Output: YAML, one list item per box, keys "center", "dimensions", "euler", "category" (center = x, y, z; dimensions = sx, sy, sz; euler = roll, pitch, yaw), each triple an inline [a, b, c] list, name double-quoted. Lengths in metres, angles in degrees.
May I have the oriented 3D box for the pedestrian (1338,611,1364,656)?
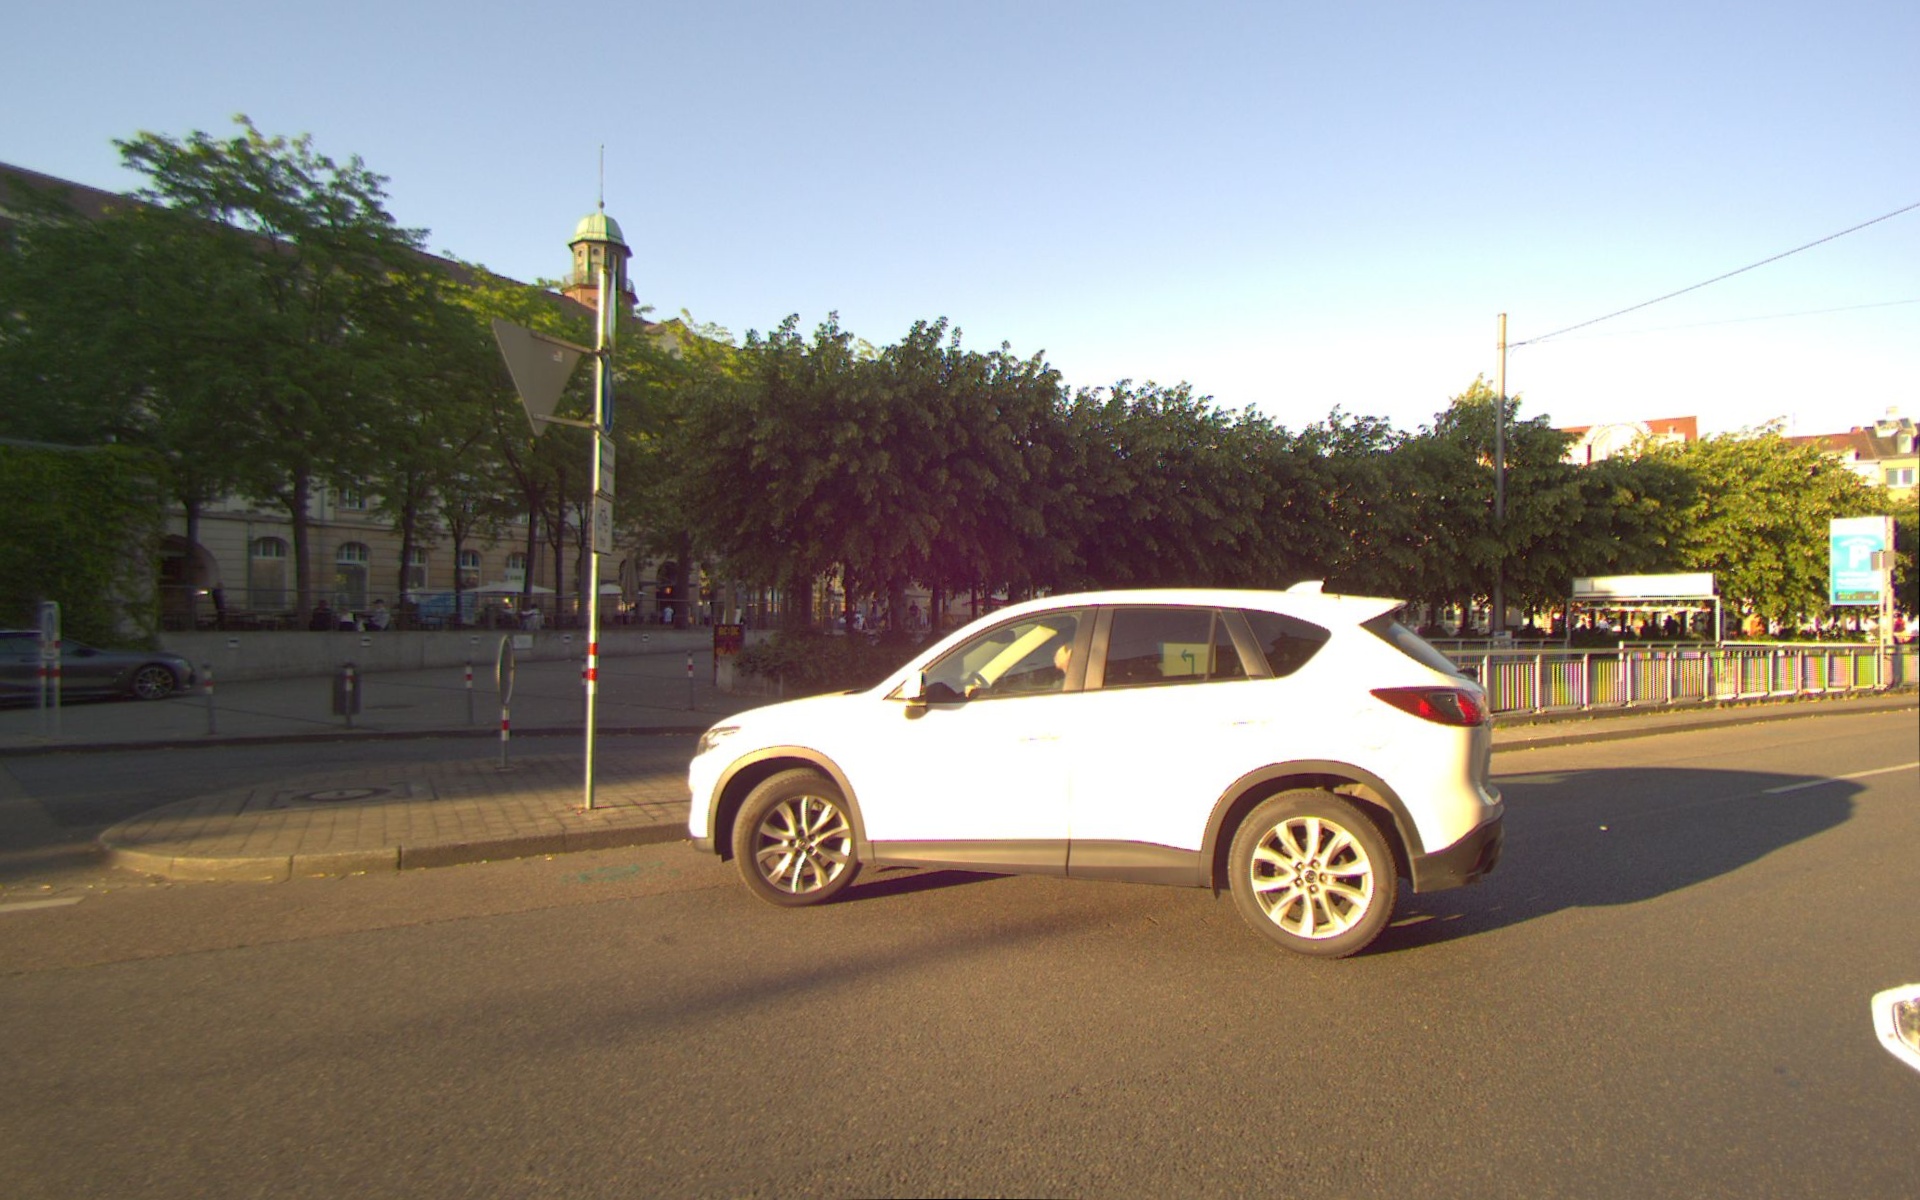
- center: [14.307, 1.222, 36.781]
  dimensions: [0.558, 1.616, 0.791]
  euler: [1, 0, -12]
  category: "pedestrian"

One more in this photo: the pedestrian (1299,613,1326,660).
- center: [12.220, 1.250, 34.824]
  dimensions: [0.558, 1.616, 0.791]
  euler: [1, 0, -12]
  category: "pedestrian"

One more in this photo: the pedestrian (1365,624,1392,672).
- center: [14.250, 1.620, 34.180]
  dimensions: [0.558, 1.616, 0.678]
  euler: [1, 0, -12]
  category: "pedestrian"

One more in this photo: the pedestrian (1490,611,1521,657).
- center: [19.356, 1.203, 35.653]
  dimensions: [0.665, 1.616, 0.678]
  euler: [1, 0, -12]
  category: "pedestrian"

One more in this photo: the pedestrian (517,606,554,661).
- center: [-12.625, 1.002, 29.876]
  dimensions: [0.778, 1.607, 0.652]
  euler: [0, -2, 34]
  category: "pedestrian"

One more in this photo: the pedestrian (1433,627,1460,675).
- center: [17.003, 1.774, 35.116]
  dimensions: [0.558, 1.616, 0.678]
  euler: [1, 0, -12]
  category: "pedestrian"

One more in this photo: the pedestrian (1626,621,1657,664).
- center: [25.848, 1.596, 38.115]
  dimensions: [0.558, 1.616, 0.791]
  euler: [1, 0, -12]
  category: "pedestrian"

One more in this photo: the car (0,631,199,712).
- center: [-16.764, 1.257, 18.060]
  dimensions: [1.964, 1.335, 4.522]
  euler: [-1, -1, 28]
  category: "car"

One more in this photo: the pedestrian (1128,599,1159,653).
- center: [5.612, 0.783, 30.671]
  dimensions: [0.693, 1.616, 0.673]
  euler: [0, 0, 41]
  category: "pedestrian"

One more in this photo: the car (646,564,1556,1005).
- center: [0.671, 0.780, 5.744]
  dimensions: [4.377, 1.784, 2.000]
  euler: [0, -1, 19]
  category: "car"

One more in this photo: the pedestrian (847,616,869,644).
- center: [-4.261, 1.248, 42.004]
  dimensions: [0.703, 1.134, 0.609]
  euler: [0, -1, 34]
  category: "pedestrian"

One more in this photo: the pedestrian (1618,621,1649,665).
- center: [25.096, 1.587, 37.422]
  dimensions: [0.558, 1.616, 0.791]
  euler: [1, 0, -12]
  category: "pedestrian"

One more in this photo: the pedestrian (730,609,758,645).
- center: [-7.979, 1.004, 37.140]
  dimensions: [0.778, 1.296, 0.652]
  euler: [0, -2, 34]
  category: "pedestrian"

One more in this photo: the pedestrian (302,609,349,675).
- center: [-15.956, 1.057, 25.268]
  dimensions: [0.679, 1.607, 0.767]
  euler: [0, -3, 36]
  category: "pedestrian"

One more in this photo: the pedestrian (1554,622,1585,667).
- center: [22.270, 1.618, 36.717]
  dimensions: [0.665, 1.616, 0.678]
  euler: [1, 0, -12]
  category: "pedestrian"

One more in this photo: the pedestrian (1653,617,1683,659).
- center: [27.226, 1.449, 38.634]
  dimensions: [0.558, 1.616, 0.791]
  euler: [1, 0, -12]
  category: "pedestrian"

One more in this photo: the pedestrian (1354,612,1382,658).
- center: [14.535, 1.248, 35.792]
  dimensions: [0.558, 1.616, 0.791]
  euler: [1, 0, -12]
  category: "pedestrian"

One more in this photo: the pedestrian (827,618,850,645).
- center: [-4.974, 1.298, 41.217]
  dimensions: [0.703, 1.073, 0.609]
  euler: [0, -1, 34]
  category: "pedestrian"

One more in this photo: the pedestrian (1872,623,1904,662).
- center: [38.780, 1.769, 41.967]
  dimensions: [0.558, 1.616, 0.791]
  euler: [1, 0, -12]
  category: "pedestrian"

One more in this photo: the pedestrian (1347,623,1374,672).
- center: [13.573, 1.602, 34.068]
  dimensions: [0.558, 1.616, 0.678]
  euler: [1, 0, -12]
  category: "pedestrian"

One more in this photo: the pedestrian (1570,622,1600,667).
- center: [22.934, 1.618, 36.857]
  dimensions: [0.665, 1.616, 0.678]
  euler: [1, 0, -12]
  category: "pedestrian"

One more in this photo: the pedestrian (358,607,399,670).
- center: [-15.253, 1.013, 26.335]
  dimensions: [0.611, 1.607, 0.699]
  euler: [0, -3, 36]
  category: "pedestrian"
